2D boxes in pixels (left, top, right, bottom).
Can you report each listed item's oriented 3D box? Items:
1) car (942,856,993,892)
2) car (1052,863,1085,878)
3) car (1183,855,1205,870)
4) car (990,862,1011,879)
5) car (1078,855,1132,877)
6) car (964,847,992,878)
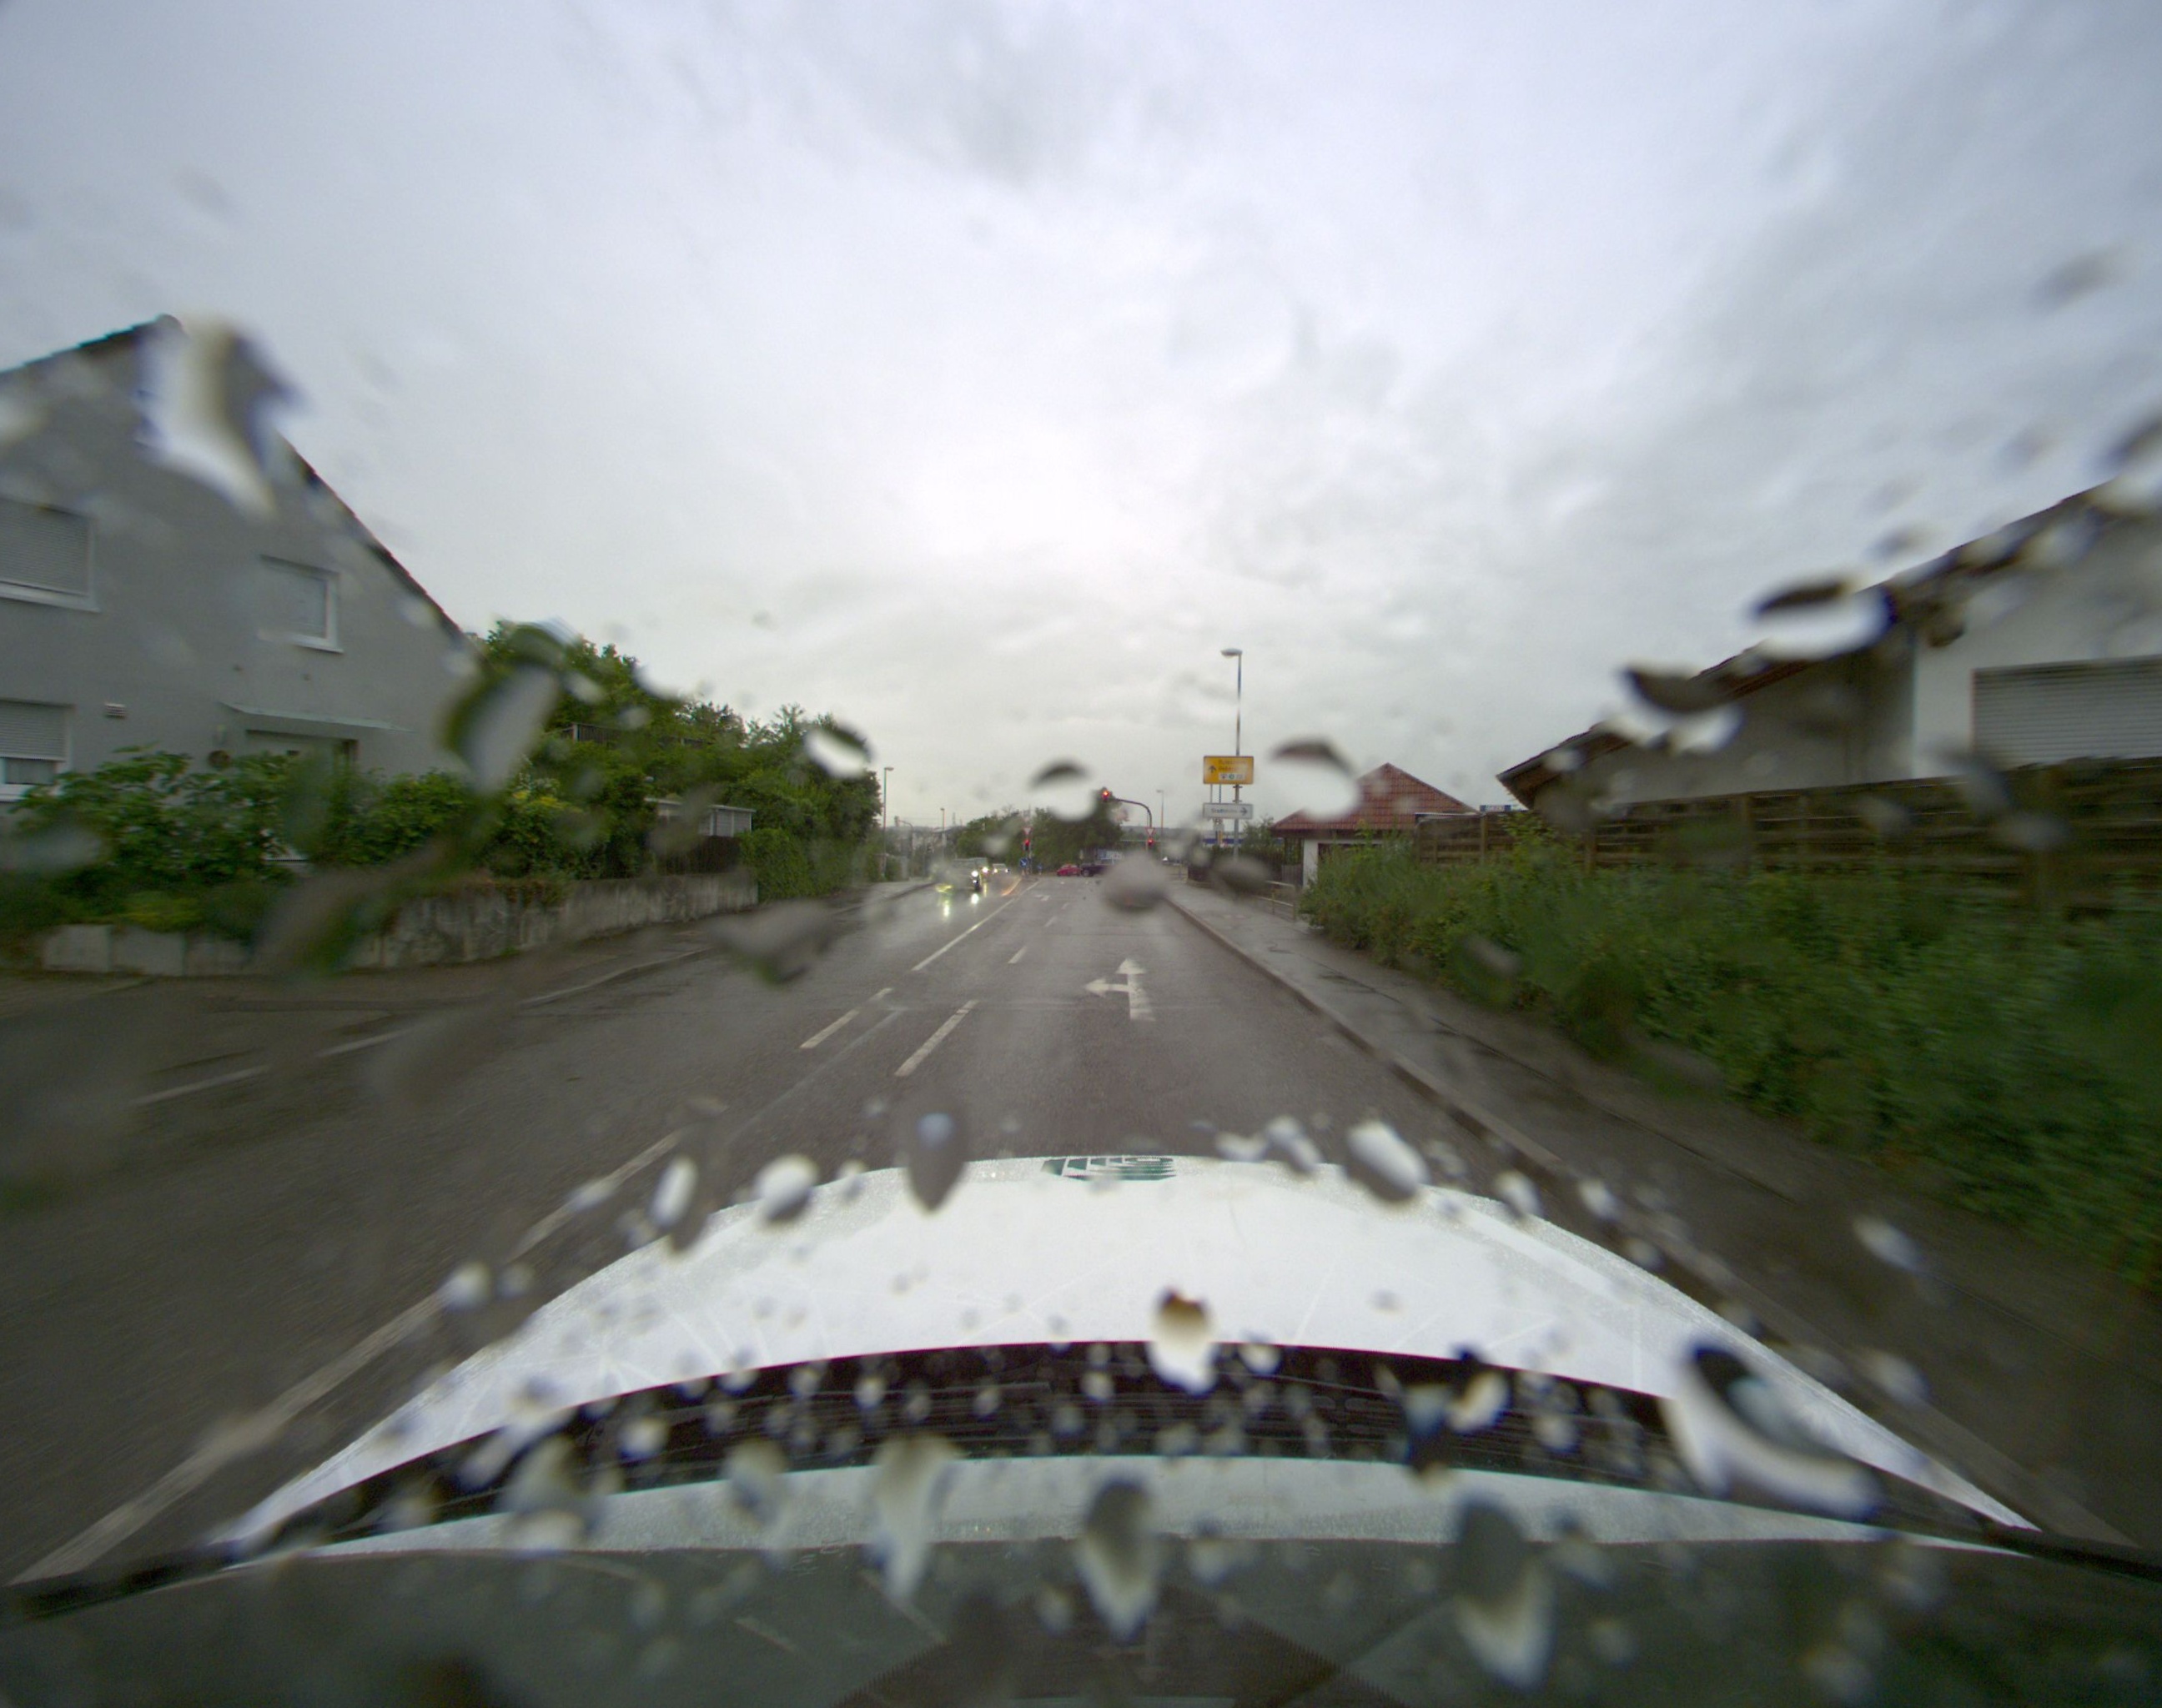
[{"bbox_3d":[-5.275,0.888,38.362,1.799,1.523,3.999,1,0,0],"label":"car"},{"bbox_3d":[-1.533,1.957,98.097,2.308,1.690,4.720,-3,0,-23],"label":"car"},{"bbox_3d":[15.810,1.226,113.582,1.976,2.013,4.022,1,0,23],"label":"car"},{"bbox_3d":[-10.350,2.122,104.412,1.998,2.013,3.978,-2,0,-16],"label":"car"},{"bbox_3d":[2.556,1.296,86.624,5.432,2.013,2.006,-3,0,10],"label":"car"},{"bbox_3d":[-6.931,0.529,55.116,1.769,2.013,3.992,1,0,-6],"label":"car"}]
